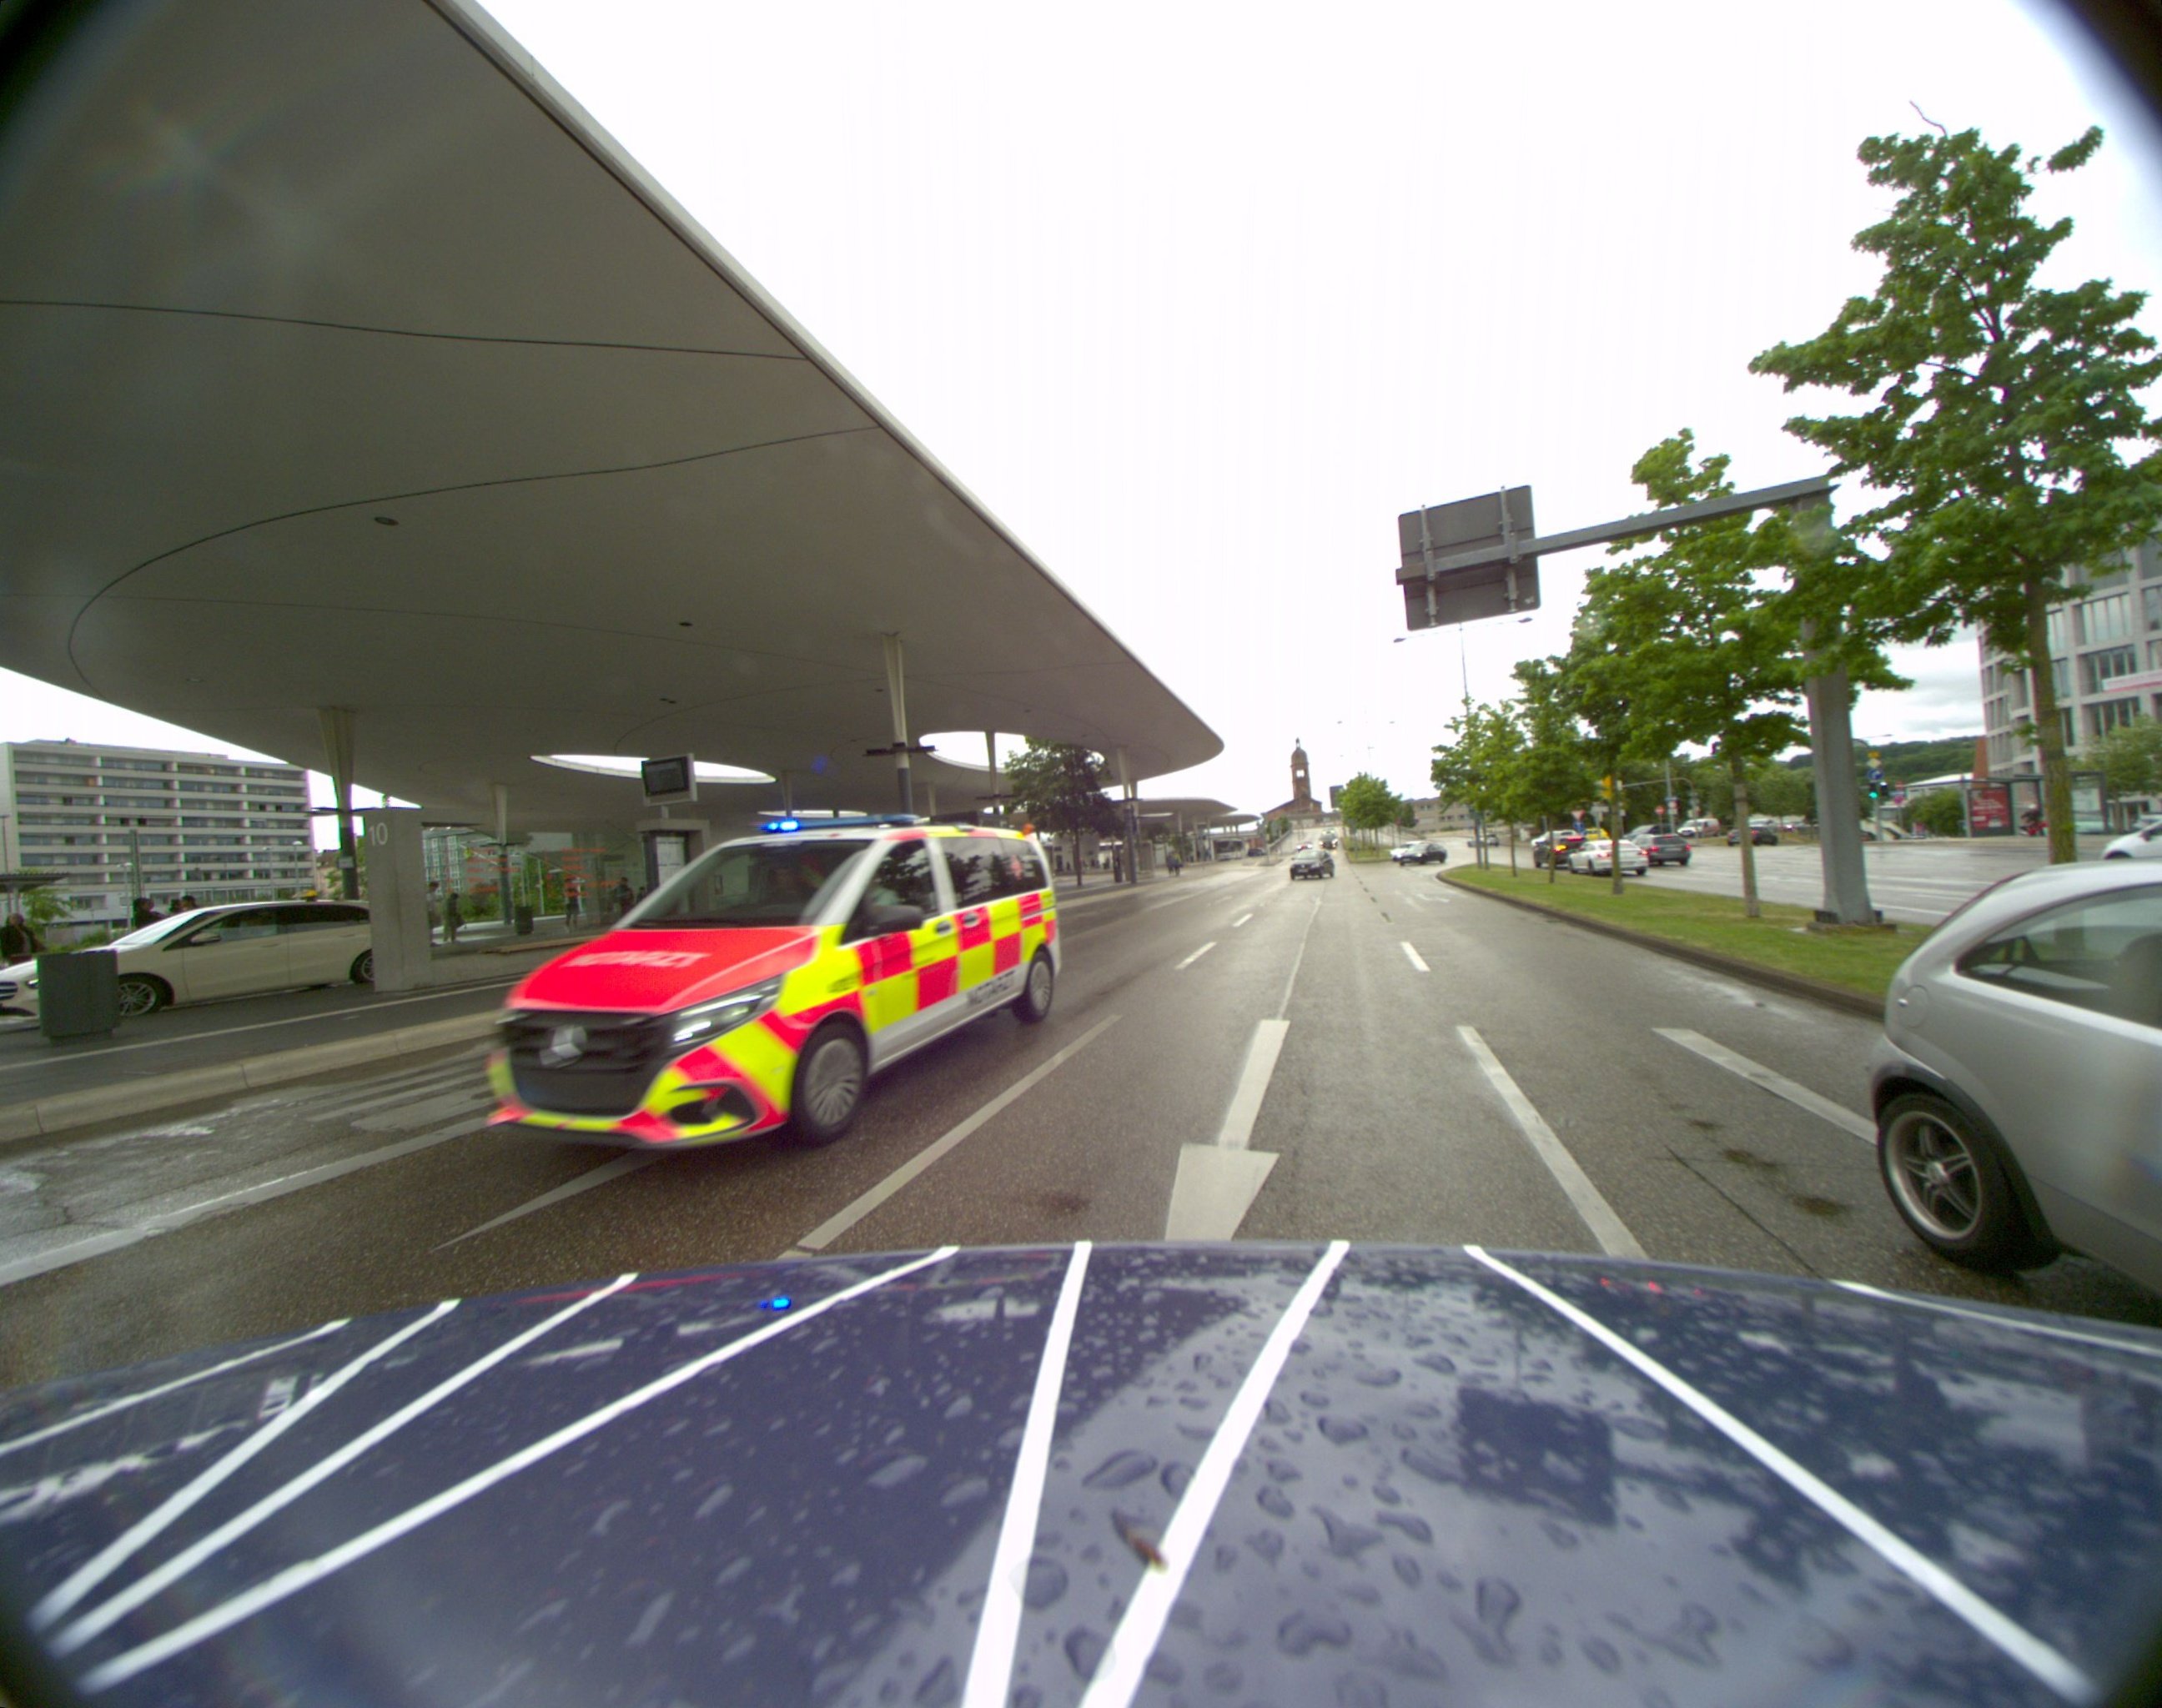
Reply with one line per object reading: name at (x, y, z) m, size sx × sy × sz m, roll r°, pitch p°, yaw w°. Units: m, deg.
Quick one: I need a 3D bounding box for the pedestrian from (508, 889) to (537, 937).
pedestrian at (-18.210, 1.908, 24.762) m, size 0.478 × 1.505 × 0.526 m, roll -3°, pitch 1°, yaw 23°

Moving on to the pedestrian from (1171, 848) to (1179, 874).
pedestrian at (6.284, 0.459, 50.787) m, size 0.445 × 1.753 × 0.538 m, roll -3°, pitch 0°, yaw 12°

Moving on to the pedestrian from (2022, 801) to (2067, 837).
pedestrian at (41.294, -1.500, 32.576) m, size 0.982 × 1.481 × 0.735 m, roll -2°, pitch 1°, yaw 29°

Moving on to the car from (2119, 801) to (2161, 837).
car at (53.414, -1.787, 37.489) m, size 4.162 × 1.692 × 1.873 m, roll -3°, pitch 1°, yaw -26°

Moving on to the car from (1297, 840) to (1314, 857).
car at (28.720, -0.693, 97.248) m, size 1.996 × 2.002 × 4.004 m, roll -2°, pitch 1°, yaw 17°

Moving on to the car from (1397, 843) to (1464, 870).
car at (23.985, 0.168, 52.140) m, size 4.162 × 1.692 × 1.873 m, roll -3°, pitch 1°, yaw -25°

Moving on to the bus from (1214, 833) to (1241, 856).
bus at (22.260, -1.453, 115.764) m, size 3.579 × 3.080 × 10.762 m, roll -3°, pitch 0°, yaw 10°

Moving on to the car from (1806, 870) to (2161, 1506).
car at (3.252, 0.834, 1.110) m, size 1.697 × 1.457 × 3.724 m, roll -2°, pitch 1°, yaw 18°

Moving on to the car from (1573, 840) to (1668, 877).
car at (21.606, 0.143, 30.645) m, size 2.007 × 1.345 × 4.170 m, roll -2°, pitch 1°, yaw 19°

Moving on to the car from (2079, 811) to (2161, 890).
car at (22.906, -0.099, 14.954) m, size 1.958 × 1.608 × 4.214 m, roll -2°, pitch 1°, yaw 20°

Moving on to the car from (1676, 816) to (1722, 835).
car at (58.000, -2.697, 71.316) m, size 4.163 × 1.624 × 1.873 m, roll -3°, pitch 1°, yaw -28°

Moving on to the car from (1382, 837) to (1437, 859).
car at (26.581, -0.474, 61.448) m, size 4.054 × 1.550 × 1.808 m, roll -3°, pitch 1°, yaw -26°

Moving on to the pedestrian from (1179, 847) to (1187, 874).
pedestrian at (6.796, 0.416, 50.703) m, size 0.445 × 1.753 × 0.537 m, roll -3°, pitch 0°, yaw 10°

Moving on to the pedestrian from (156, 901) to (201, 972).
pedestrian at (-20.304, 1.839, 17.094) m, size 0.480 × 1.505 × 0.534 m, roll -3°, pitch 1°, yaw -36°

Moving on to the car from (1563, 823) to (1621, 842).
car at (48.707, -2.038, 72.441) m, size 1.879 × 1.624 × 4.148 m, roll -3°, pitch 0°, yaw -29°

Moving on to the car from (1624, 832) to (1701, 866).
car at (27.352, -0.275, 35.882) m, size 1.696 × 1.457 × 4.458 m, roll -2°, pitch 1°, yaw 22°

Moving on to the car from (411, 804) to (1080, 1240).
car at (-1.804, 0.751, 6.185) m, size 1.996 × 2.002 × 5.068 m, roll -2°, pitch 1°, yaw 19°

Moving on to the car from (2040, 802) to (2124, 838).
car at (52.398, -1.768, 39.784) m, size 4.162 × 1.692 × 1.873 m, roll -3°, pitch 1°, yaw -26°

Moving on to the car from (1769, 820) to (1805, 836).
car at (78.475, -2.928, 84.410) m, size 4.163 × 1.624 × 1.872 m, roll -3°, pitch 1°, yaw -31°

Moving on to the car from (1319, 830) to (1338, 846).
car at (32.279, -2.078, 99.031) m, size 1.996 × 2.002 × 4.003 m, roll -2°, pitch 1°, yaw 14°

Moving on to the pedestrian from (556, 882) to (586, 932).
pedestrian at (-15.935, 1.660, 23.750) m, size 0.478 × 1.505 × 0.536 m, roll -3°, pitch 1°, yaw 23°

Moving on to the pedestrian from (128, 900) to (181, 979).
pedestrian at (-18.448, 1.687, 15.131) m, size 0.534 × 1.505 × 0.480 m, roll -3°, pitch 1°, yaw 24°

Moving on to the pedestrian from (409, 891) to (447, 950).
pedestrian at (-17.178, 1.745, 20.003) m, size 0.478 × 1.505 × 0.536 m, roll -3°, pitch 1°, yaw 23°

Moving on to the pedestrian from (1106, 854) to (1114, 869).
pedestrian at (3.998, 1.076, 105.446) m, size 1.024 × 2.002 × 0.880 m, roll -2°, pitch 1°, yaw -1°

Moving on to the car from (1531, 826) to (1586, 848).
car at (40.295, -1.445, 64.098) m, size 4.306 × 1.624 × 1.873 m, roll -3°, pitch 1°, yaw -24°

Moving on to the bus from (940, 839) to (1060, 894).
bus at (-4.892, 0.619, 49.837) m, size 2.872 × 3.064 × 11.936 m, roll -2°, pitch 1°, yaw 19°

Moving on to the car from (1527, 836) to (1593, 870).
car at (23.748, -0.079, 37.810) m, size 2.007 × 1.545 × 4.170 m, roll -2°, pitch 1°, yaw 21°

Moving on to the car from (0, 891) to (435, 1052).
car at (-13.295, 1.572, 11.766) m, size 1.996 × 1.671 × 4.547 m, roll -2°, pitch 1°, yaw 19°

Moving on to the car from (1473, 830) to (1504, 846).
car at (44.641, -1.746, 83.292) m, size 1.874 × 1.624 × 4.161 m, roll -3°, pitch 0°, yaw 13°

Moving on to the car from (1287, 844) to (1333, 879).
car at (12.104, 0.361, 40.045) m, size 1.873 × 1.692 × 4.163 m, roll -2°, pitch 1°, yaw 23°

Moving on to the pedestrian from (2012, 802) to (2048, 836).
pedestrian at (41.845, -1.531, 33.512) m, size 0.732 × 1.481 × 0.735 m, roll -2°, pitch 1°, yaw 27°

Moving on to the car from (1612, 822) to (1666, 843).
car at (47.162, -1.825, 64.232) m, size 4.162 × 1.624 × 1.873 m, roll -3°, pitch 1°, yaw -25°

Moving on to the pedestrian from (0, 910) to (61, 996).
pedestrian at (-20.776, 1.930, 14.958) m, size 0.640 × 1.586 × 0.742 m, roll -2°, pitch 1°, yaw 33°

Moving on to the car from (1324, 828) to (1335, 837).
car at (44.629, -3.915, 136.417) m, size 1.547 × 1.551 × 3.653 m, roll -2°, pitch 1°, yaw 14°

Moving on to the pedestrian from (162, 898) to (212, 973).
pedestrian at (-18.719, 1.692, 15.906) m, size 0.534 × 1.505 × 0.480 m, roll -3°, pitch 1°, yaw 24°
